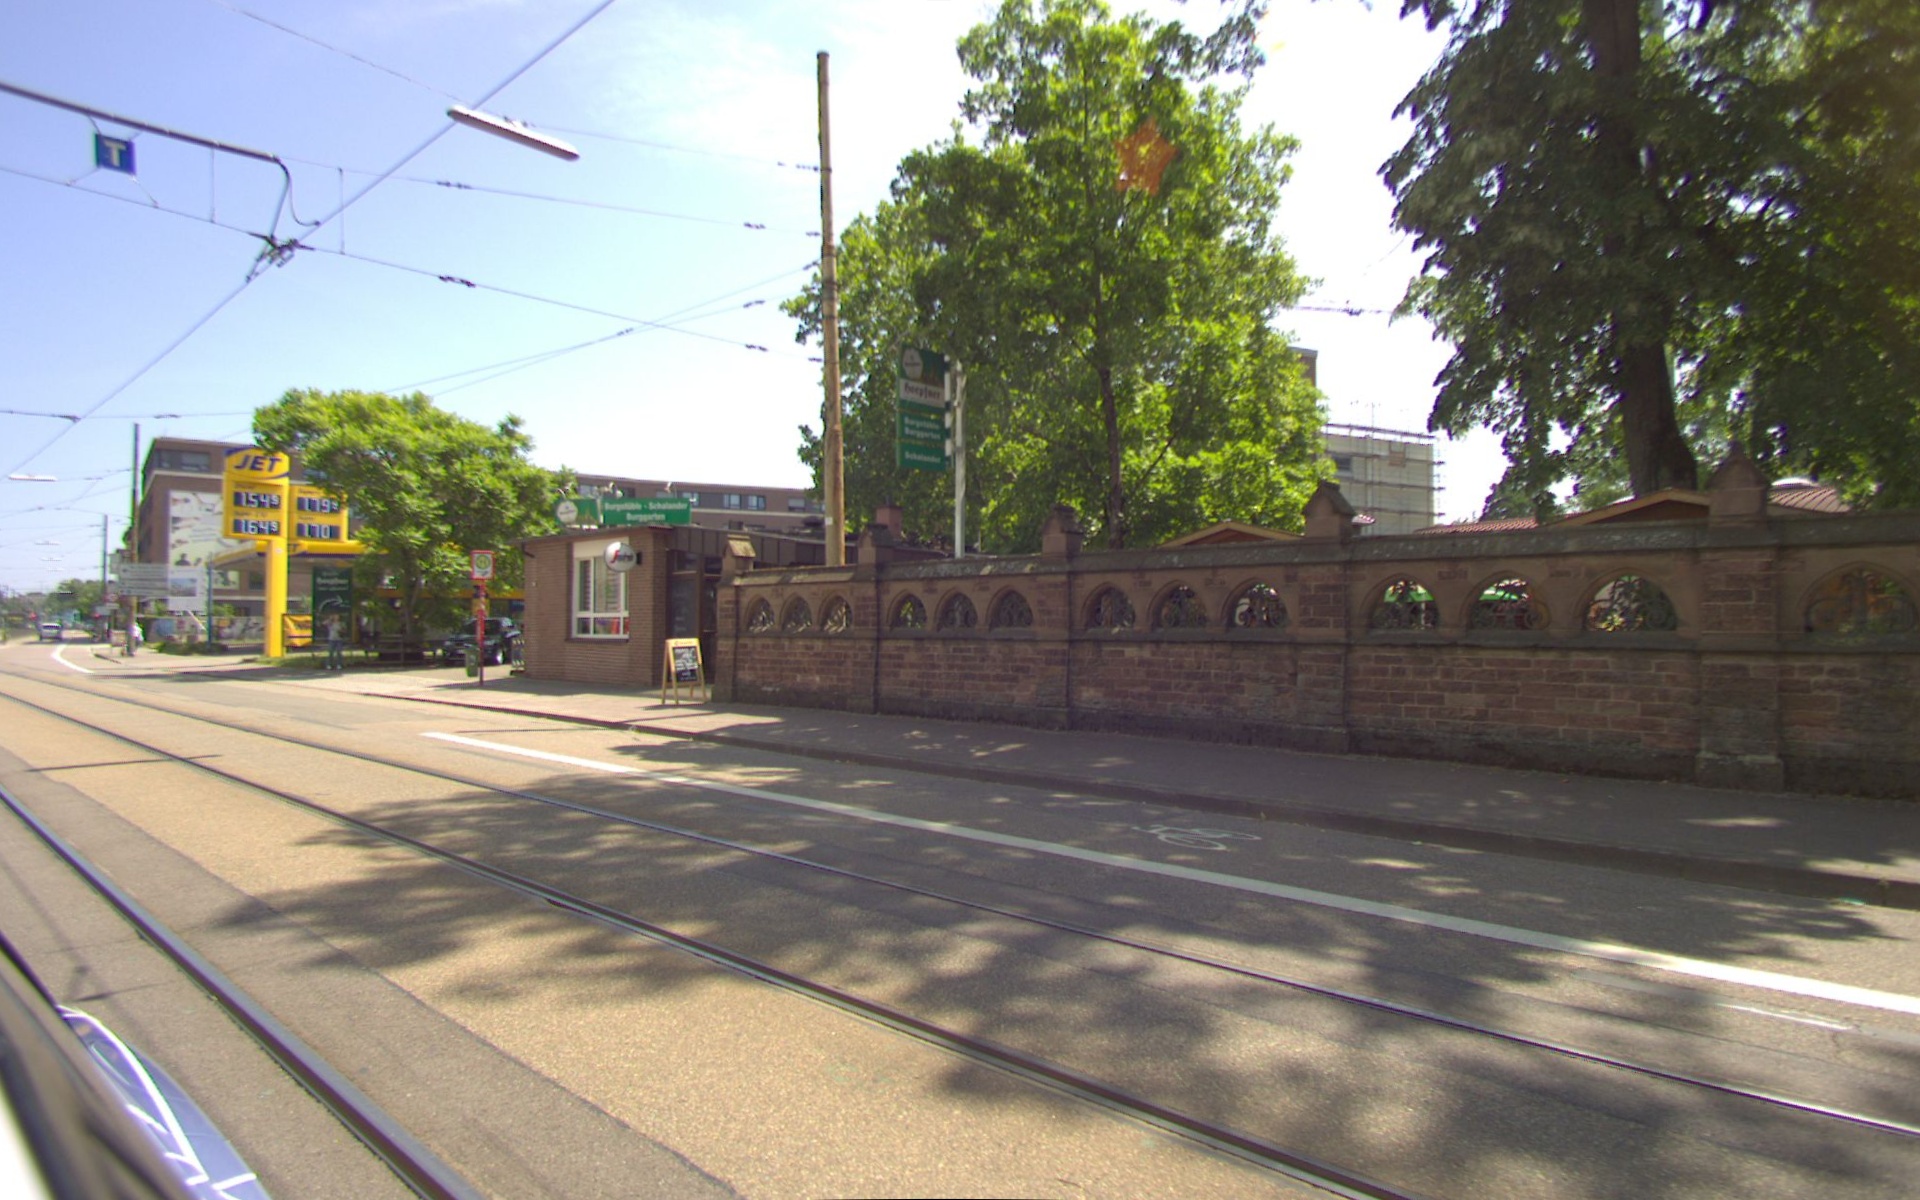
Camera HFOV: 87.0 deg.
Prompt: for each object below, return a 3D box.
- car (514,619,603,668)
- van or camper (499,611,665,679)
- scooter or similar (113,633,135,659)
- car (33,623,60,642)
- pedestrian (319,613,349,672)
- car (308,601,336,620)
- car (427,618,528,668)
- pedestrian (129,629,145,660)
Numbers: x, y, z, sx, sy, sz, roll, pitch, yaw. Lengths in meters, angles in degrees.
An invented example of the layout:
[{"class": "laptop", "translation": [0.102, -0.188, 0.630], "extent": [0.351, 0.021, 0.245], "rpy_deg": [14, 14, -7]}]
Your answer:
[{"class": "car", "translation": [-13.504, 1.420, 34.279], "extent": [1.904, 1.500, 4.460], "rpy_deg": [-1, -1, -9]}, {"class": "van or camper", "translation": [-10.087, 1.171, 27.174], "extent": [1.870, 1.641, 3.745], "rpy_deg": [-3, -2, 41]}, {"class": "scooter or similar", "translation": [-39.588, 2.165, 47.911], "extent": [1.375, 1.209, 0.513], "rpy_deg": [-2, -1, 39]}, {"class": "car", "translation": [-96.052, 3.388, 106.486], "extent": [1.969, 1.813, 4.559], "rpy_deg": [-1, 0, -41]}, {"class": "pedestrian", "translation": [-19.530, 1.319, 31.555], "extent": [0.698, 1.789, 0.574], "rpy_deg": [-2, -1, 38]}, {"class": "car", "translation": [-53.602, 0.890, 84.968], "extent": [1.709, 1.479, 4.009], "rpy_deg": [0, -1, -37]}, {"class": "car", "translation": [-16.079, 1.401, 33.961], "extent": [1.904, 1.500, 4.460], "rpy_deg": [-1, -1, -9]}, {"class": "pedestrian", "translation": [-45.319, 2.427, 55.728], "extent": [0.617, 1.704, 0.724], "rpy_deg": [1, -2, -37]}]
